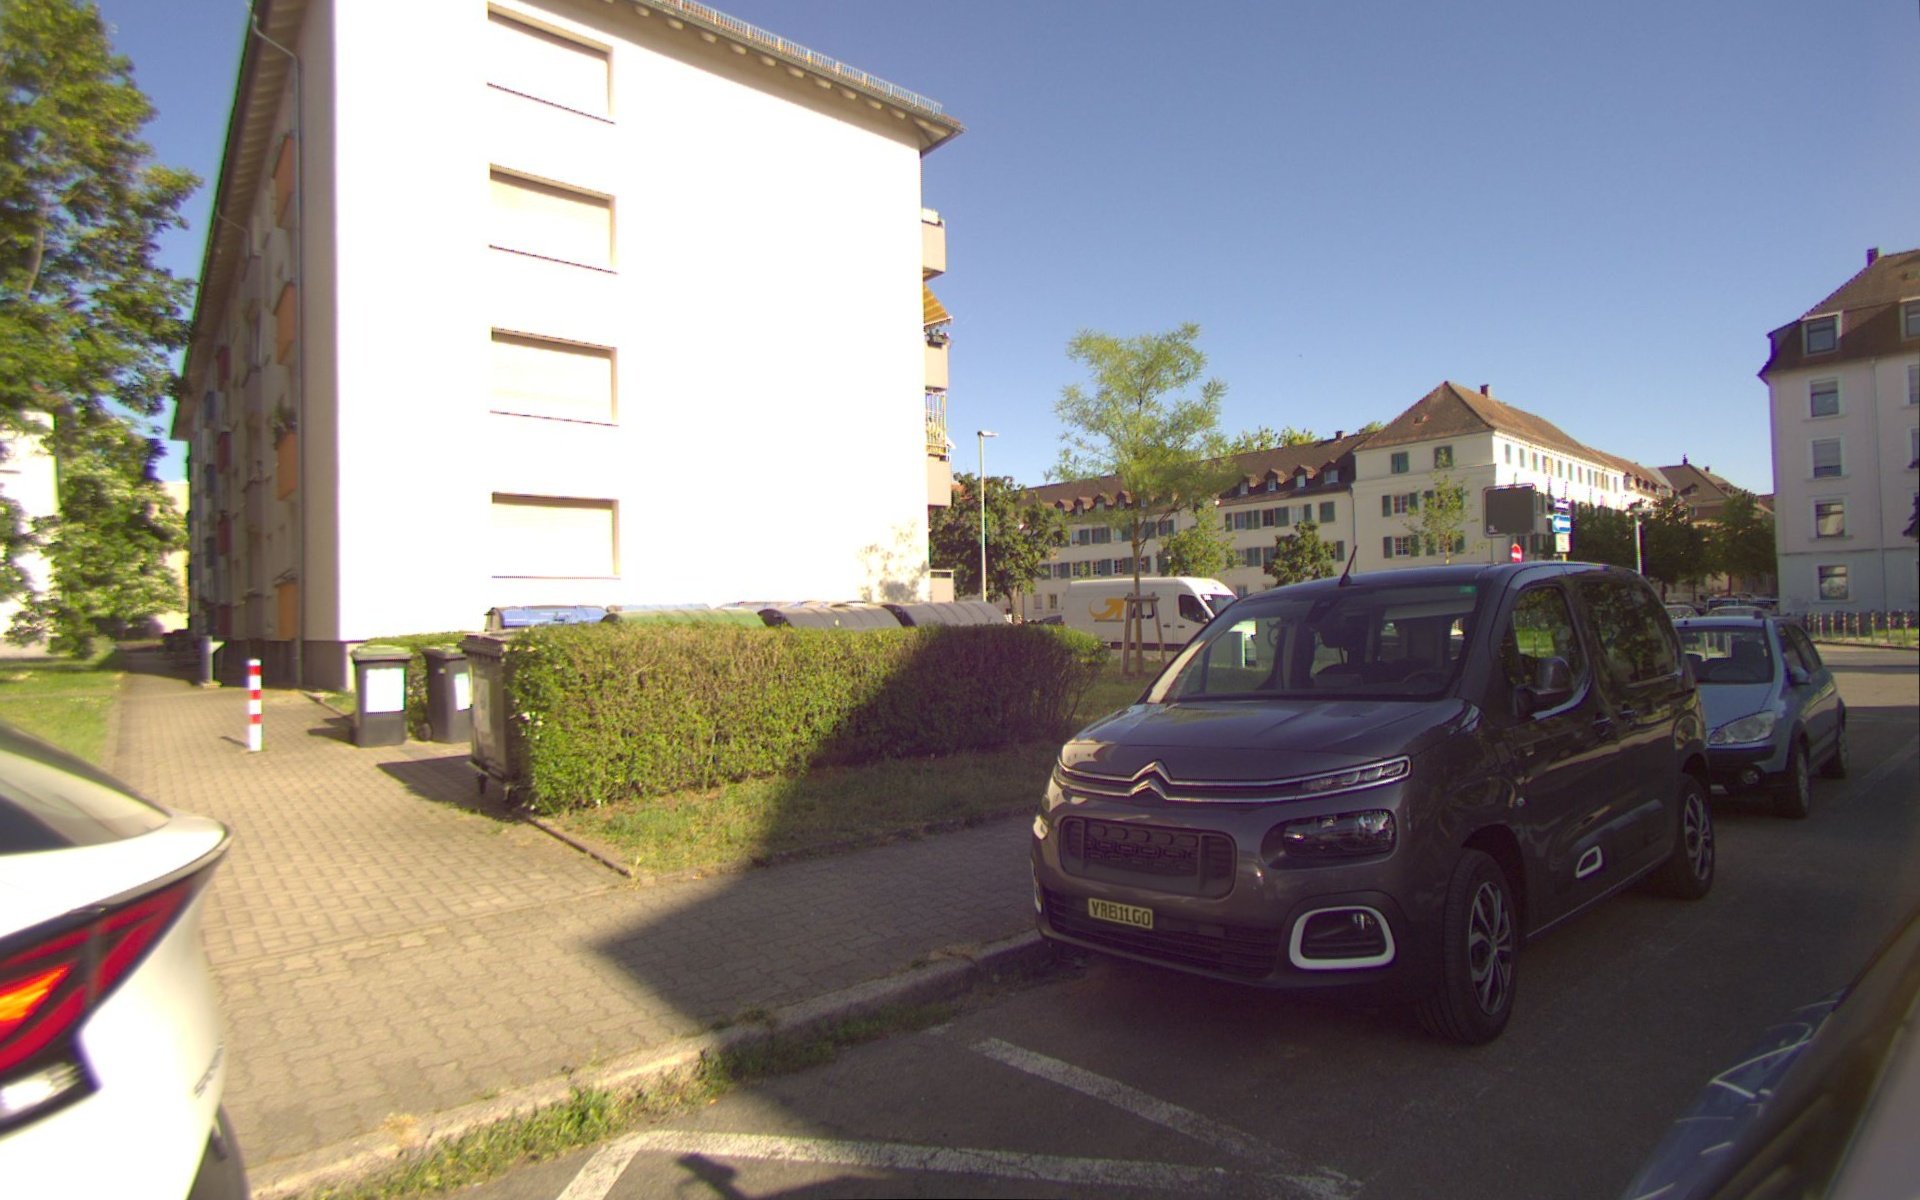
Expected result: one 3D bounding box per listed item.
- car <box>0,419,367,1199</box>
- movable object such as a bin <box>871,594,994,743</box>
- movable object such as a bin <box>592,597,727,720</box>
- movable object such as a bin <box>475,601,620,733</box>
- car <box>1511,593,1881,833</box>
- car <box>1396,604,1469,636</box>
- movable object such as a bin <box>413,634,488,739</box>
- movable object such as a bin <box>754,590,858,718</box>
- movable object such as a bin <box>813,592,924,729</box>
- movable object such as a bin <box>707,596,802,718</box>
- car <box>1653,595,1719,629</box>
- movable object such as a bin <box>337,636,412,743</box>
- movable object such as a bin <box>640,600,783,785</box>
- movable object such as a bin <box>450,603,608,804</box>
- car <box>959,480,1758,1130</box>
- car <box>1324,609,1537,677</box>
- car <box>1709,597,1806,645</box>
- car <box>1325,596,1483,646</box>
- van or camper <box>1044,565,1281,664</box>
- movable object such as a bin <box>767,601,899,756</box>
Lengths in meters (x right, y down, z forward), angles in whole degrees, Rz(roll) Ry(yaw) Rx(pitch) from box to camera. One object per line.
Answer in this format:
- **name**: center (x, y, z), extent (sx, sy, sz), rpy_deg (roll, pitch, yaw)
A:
- **car**: center (-2.902, 0.696, 0.263), extent (4.503, 1.613, 1.802), rpy_deg (0, -3, -42)
- **movable object such as a bin**: center (-0.283, 0.656, 10.239), extent (0.852, 1.416, 0.920), rpy_deg (0, -1, -42)
- **movable object such as a bin**: center (-3.858, 0.708, 12.989), extent (1.257, 1.466, 1.237), rpy_deg (0, -1, -43)
- **movable object such as a bin**: center (-4.949, 0.752, 12.134), extent (1.257, 1.466, 1.237), rpy_deg (0, -1, -43)
- **car**: center (6.367, 0.788, 8.594), extent (3.885, 1.557, 1.725), rpy_deg (0, -4, -43)
- **car**: center (32.036, 1.345, 68.670), extent (1.966, 2.039, 3.991), rpy_deg (0, -1, -42)
- **movable object such as a bin**: center (-5.654, 0.938, 11.224), extent (0.570, 1.066, 0.717), rpy_deg (0, 1, -43)
- **movable object such as a bin**: center (-1.856, 0.616, 12.184), extent (0.907, 1.466, 0.864), rpy_deg (0, -1, -45)
- **movable object such as a bin**: center (-1.030, 0.645, 11.432), extent (0.907, 1.466, 0.864), rpy_deg (0, -1, -45)
- **movable object such as a bin**: center (-2.723, 0.721, 13.403), extent (0.906, 1.539, 0.865), rpy_deg (0, -1, -42)
- **car**: center (31.239, 0.489, 43.665), extent (1.656, 1.394, 3.767), rpy_deg (-1, 0, 26)
- **movable object such as a bin**: center (-6.324, 0.946, 10.930), extent (0.570, 1.066, 0.627), rpy_deg (0, 1, -43)
- **movable object such as a bin**: center (-2.135, 0.740, 8.671), extent (0.852, 1.466, 0.920), rpy_deg (0, -1, -42)
- **movable object such as a bin**: center (-3.430, 0.764, 8.058), extent (0.907, 1.466, 0.864), rpy_deg (0, -1, -45)
- **car**: center (2.207, 0.625, 4.961), extent (4.180, 1.824, 1.852), rpy_deg (0, -5, -42)
- **car**: center (10.507, 0.893, 22.830), extent (1.769, 1.367, 3.996), rpy_deg (0, 0, -39)
- **car**: center (25.687, 0.623, 32.720), extent (1.656, 1.459, 3.767), rpy_deg (0, 0, 26)
- **car**: center (12.962, 0.596, 29.737), extent (1.494, 1.367, 3.996), rpy_deg (0, 0, -38)
- **van or camper**: center (5.602, 0.398, 29.214), extent (2.137, 2.532, 6.979), rpy_deg (0, -1, -38)
- **movable object such as a bin**: center (-1.191, 0.690, 9.447), extent (0.852, 1.342, 0.920), rpy_deg (0, -1, -42)
